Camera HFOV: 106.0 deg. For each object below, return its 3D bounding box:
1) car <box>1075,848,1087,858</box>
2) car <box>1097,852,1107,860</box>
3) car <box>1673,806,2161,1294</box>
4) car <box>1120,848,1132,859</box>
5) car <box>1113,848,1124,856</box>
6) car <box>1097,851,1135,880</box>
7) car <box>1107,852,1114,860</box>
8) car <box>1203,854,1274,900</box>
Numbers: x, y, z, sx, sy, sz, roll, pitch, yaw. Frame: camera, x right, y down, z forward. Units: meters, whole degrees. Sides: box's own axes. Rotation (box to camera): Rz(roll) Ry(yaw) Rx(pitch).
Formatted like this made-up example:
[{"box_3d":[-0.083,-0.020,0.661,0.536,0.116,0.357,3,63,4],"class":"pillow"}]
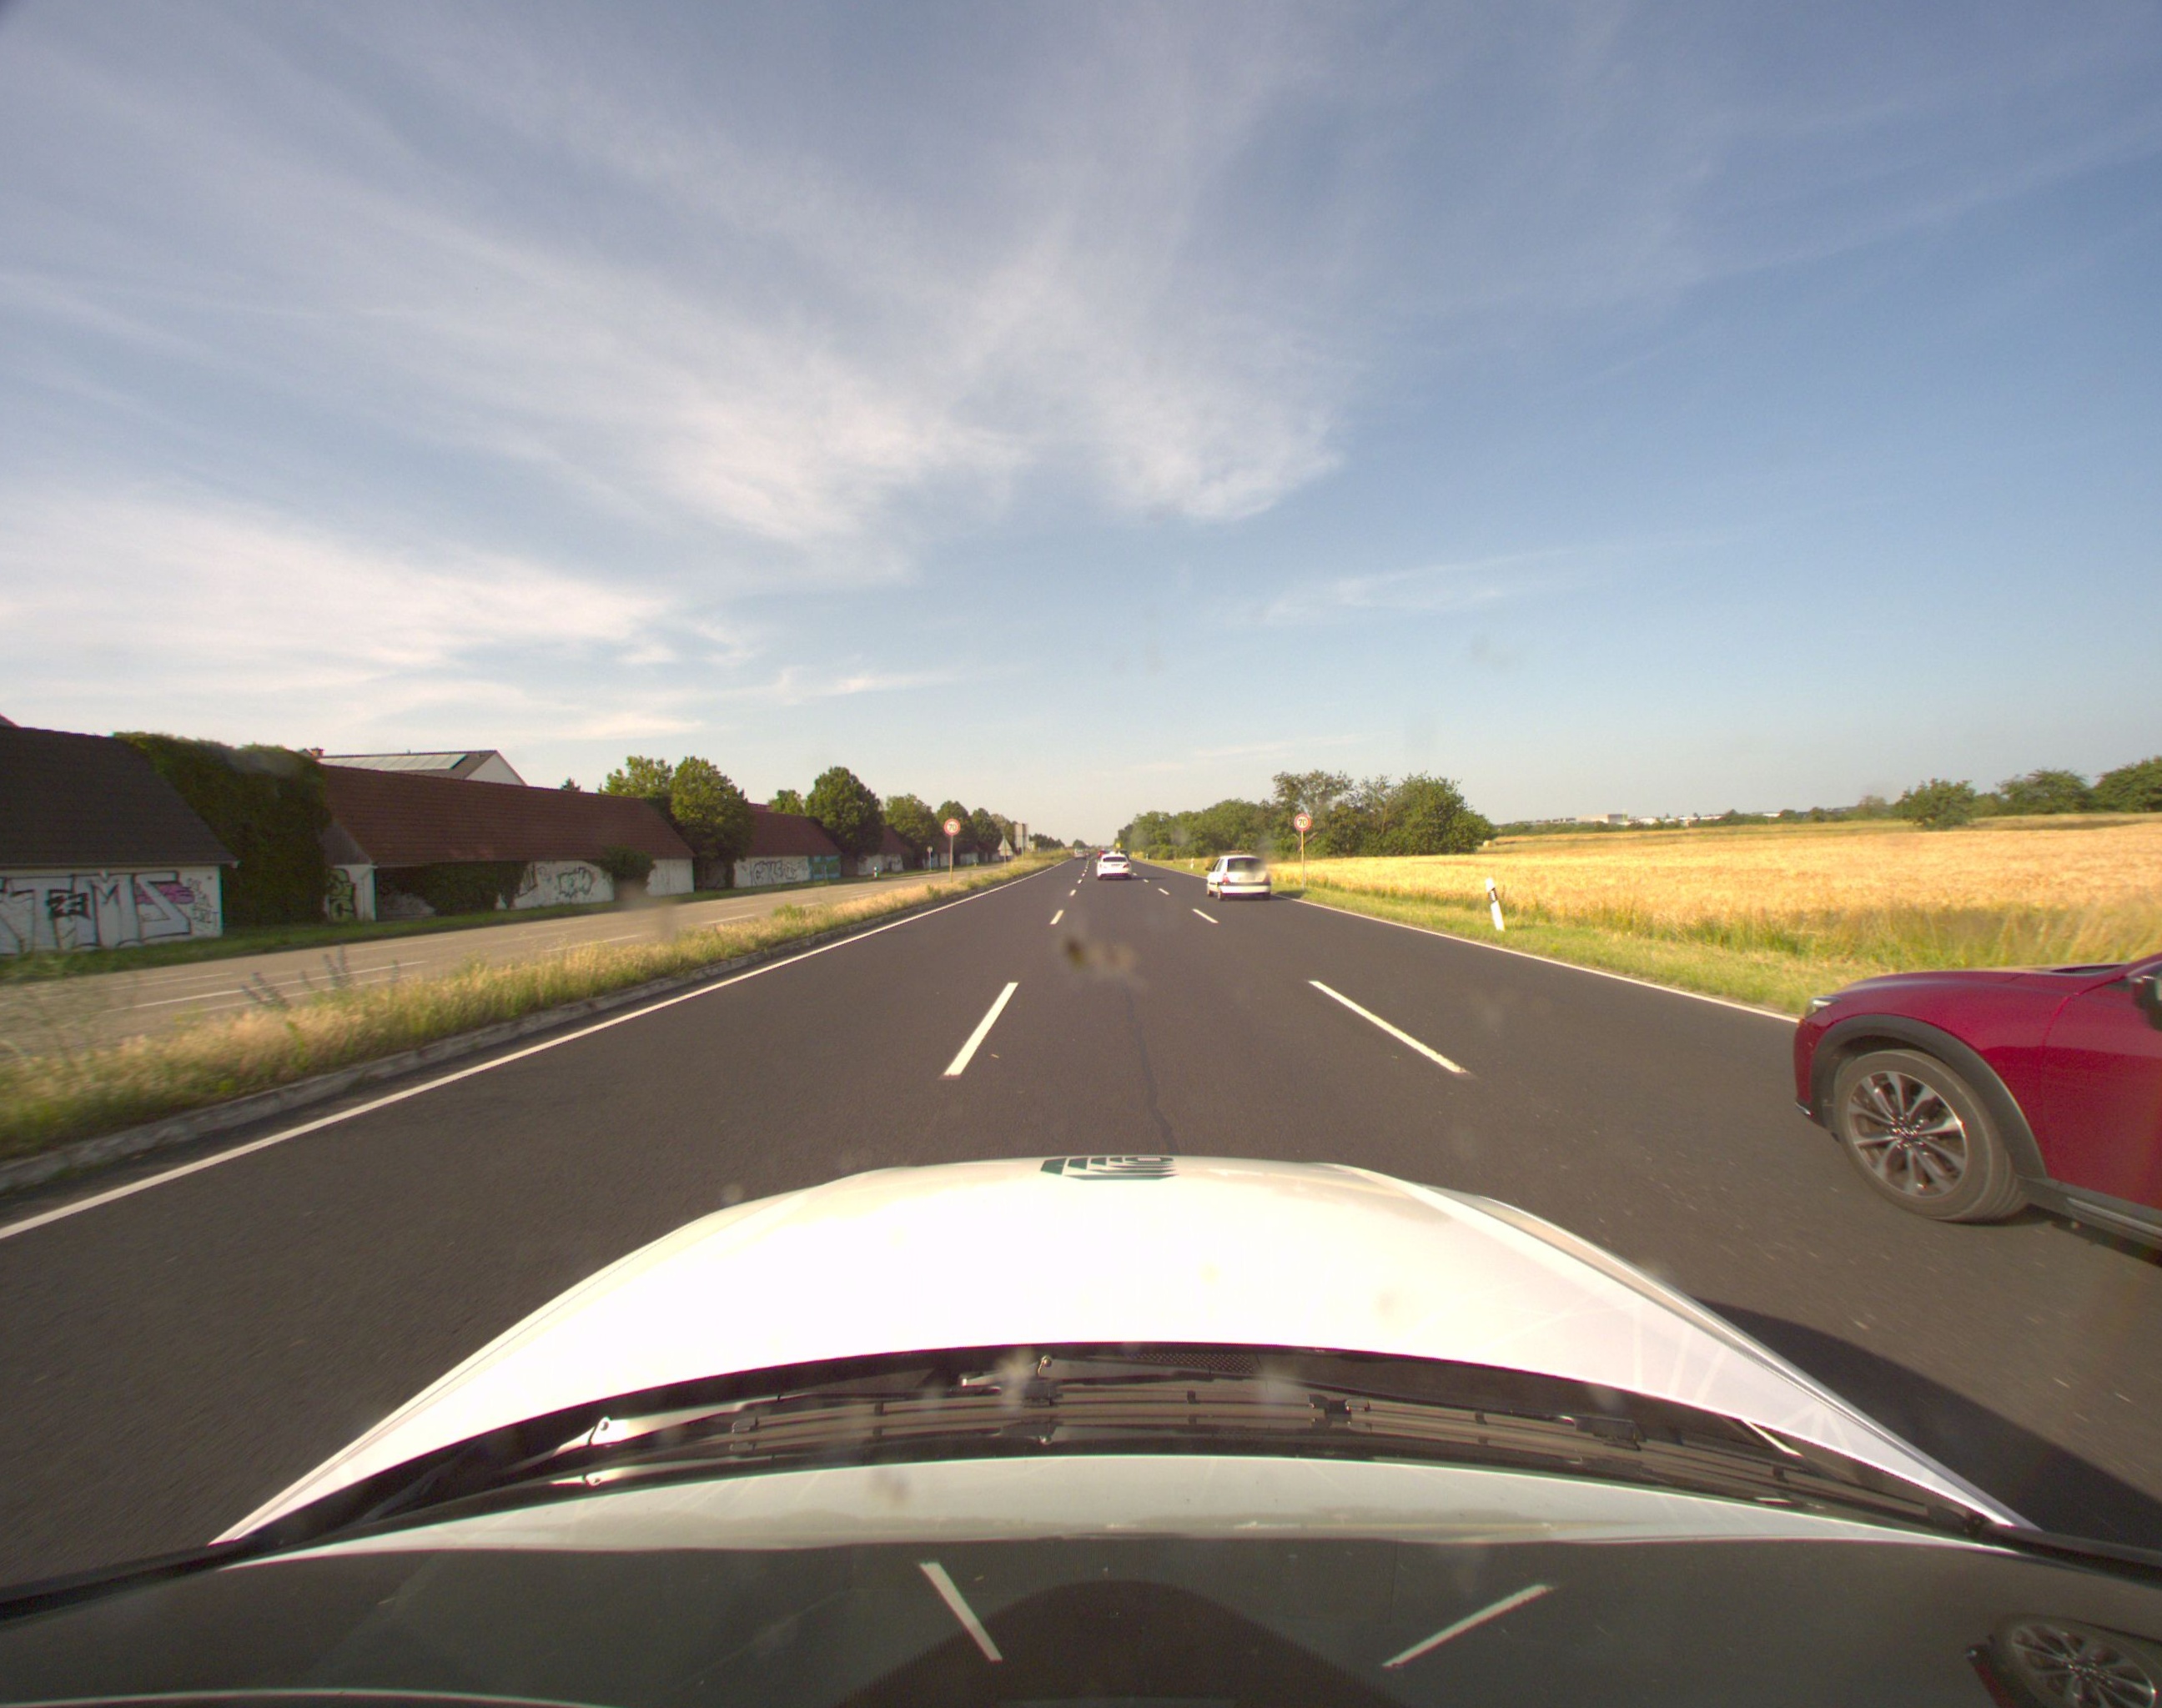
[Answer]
[{"box_3d":[0.063,-0.200,135.830,1.751,1.618,4.004,-1,-1,3],"class":"car"},{"box_3d":[3.958,0.336,152.348,1.805,1.436,3.859,0,-1,1],"class":"car"},{"box_3d":[4.178,0.597,2.376,1.698,1.506,4.501,-1,-1,1],"class":"car"},{"box_3d":[7.128,-0.058,130.094,1.821,1.728,4.001,-1,-1,1],"class":"car"},{"box_3d":[7.422,-0.422,162.775,1.988,1.585,4.282,0,-1,-1],"class":"car"},{"box_3d":[1.922,0.653,45.510,1.986,1.516,4.001,-1,-1,2],"class":"car"},{"box_3d":[7.538,0.552,208.047,1.795,1.904,3.562,-1,-1,3],"class":"car"},{"box_3d":[5.026,0.709,26.432,1.611,1.387,3.952,-1,-1,1],"class":"car"}]
